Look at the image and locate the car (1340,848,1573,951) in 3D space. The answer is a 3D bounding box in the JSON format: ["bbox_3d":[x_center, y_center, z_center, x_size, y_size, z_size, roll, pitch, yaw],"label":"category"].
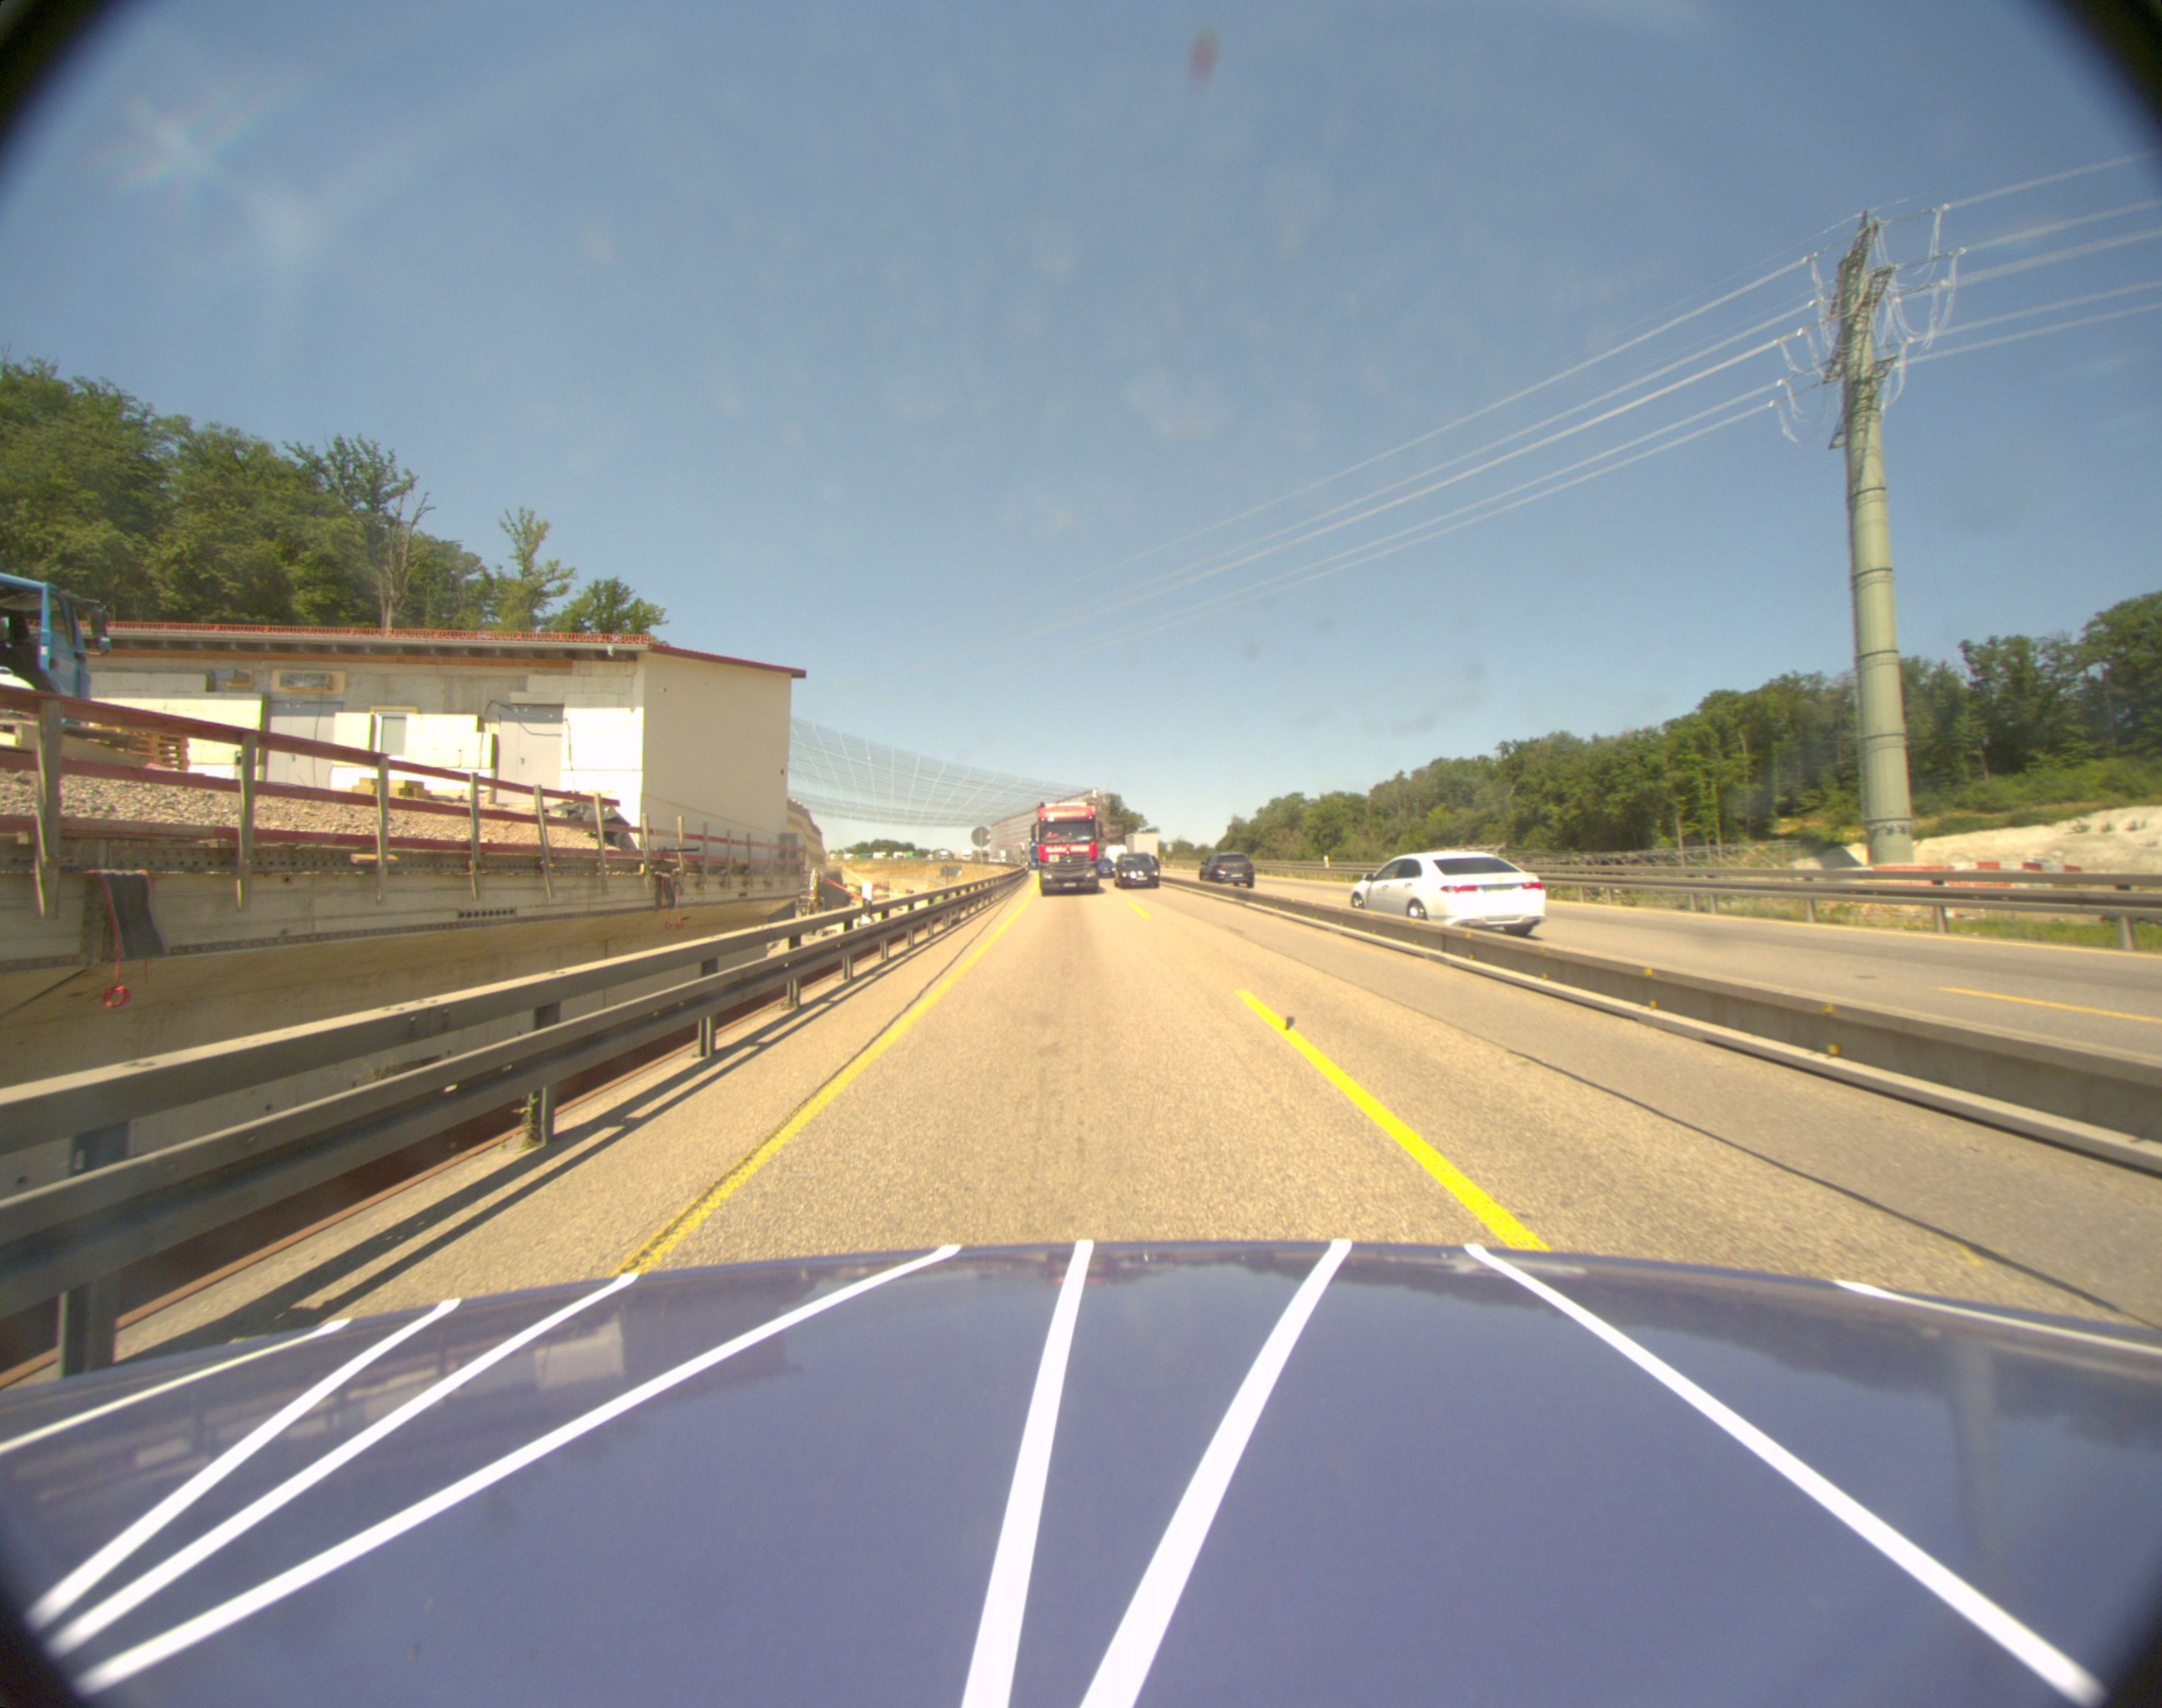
[{"bbox_3d":[6.433,0.689,13.710,1.917,1.478,4.477,-2,0,0],"label":"car"}]

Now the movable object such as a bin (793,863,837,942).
[{"bbox_3d":[-26.211,4.623,75.180,2.935,7.311,6.232,-3,1,-12],"label":"movable object such as a bin"}]

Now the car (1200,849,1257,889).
[{"bbox_3d":[6.461,0.616,33.635,1.743,1.632,4.001,-2,0,1],"label":"car"}]

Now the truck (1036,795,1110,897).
[{"bbox_3d":[-0.486,-0.397,35.615,2.799,3.986,10.426,-2,1,-2],"label":"truck"}]

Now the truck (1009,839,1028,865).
[{"bbox_3d":[-10.867,-0.385,131.739,2.911,4.207,9.235,-3,1,-6],"label":"truck"}]

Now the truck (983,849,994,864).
[{"bbox_3d":[-27.582,0.649,225.560,3.043,4.033,8.668,-3,1,-7],"label":"truck"}]

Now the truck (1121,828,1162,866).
[{"bbox_3d":[6.819,-0.743,87.085,2.808,3.976,10.548,-2,0,-5],"label":"truck"}]

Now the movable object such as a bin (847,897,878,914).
[{"bbox_3d":[-38.367,9.000,133.353,5.485,2.621,2.224,-2,1,36],"label":"movable object such as a bin"}]

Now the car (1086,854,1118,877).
[{"bbox_3d":[1.477,0.844,55.176,1.896,1.546,4.785,-2,0,-3],"label":"car"}]

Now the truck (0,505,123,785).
[{"bbox_3d":[-17.243,-3.117,9.680,2.713,3.671,5.722,-2,-2,23],"label":"truck"}]

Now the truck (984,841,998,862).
[{"bbox_3d":[-21.172,-0.575,178.605,3.043,4.778,8.935,-3,1,-7],"label":"truck"}]

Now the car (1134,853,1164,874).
[{"bbox_3d":[5.220,0.741,58.796,1.734,1.542,4.035,-2,0,-2],"label":"car"}]

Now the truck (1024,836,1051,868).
[{"bbox_3d":[-6.103,-0.295,104.783,2.673,3.986,10.421,-3,1,-8],"label":"truck"}]

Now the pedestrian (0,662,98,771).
[{"bbox_3d":[-12.968,-1.636,9.116,1.022,1.144,0.994,-2,1,6],"label":"pedestrian"}]

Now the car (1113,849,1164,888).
[{"bbox_3d":[2.708,0.679,36.895,1.861,1.695,5.303,-2,0,-1],"label":"car"}]

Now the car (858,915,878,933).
[{"bbox_3d":[-29.634,9.668,105.834,2.000,2.002,3.997,-3,1,-8],"label":"car"}]

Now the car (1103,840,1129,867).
[{"bbox_3d":[3.674,-0.095,80.785,1.975,2.664,6.658,-2,1,-4],"label":"car"}]
